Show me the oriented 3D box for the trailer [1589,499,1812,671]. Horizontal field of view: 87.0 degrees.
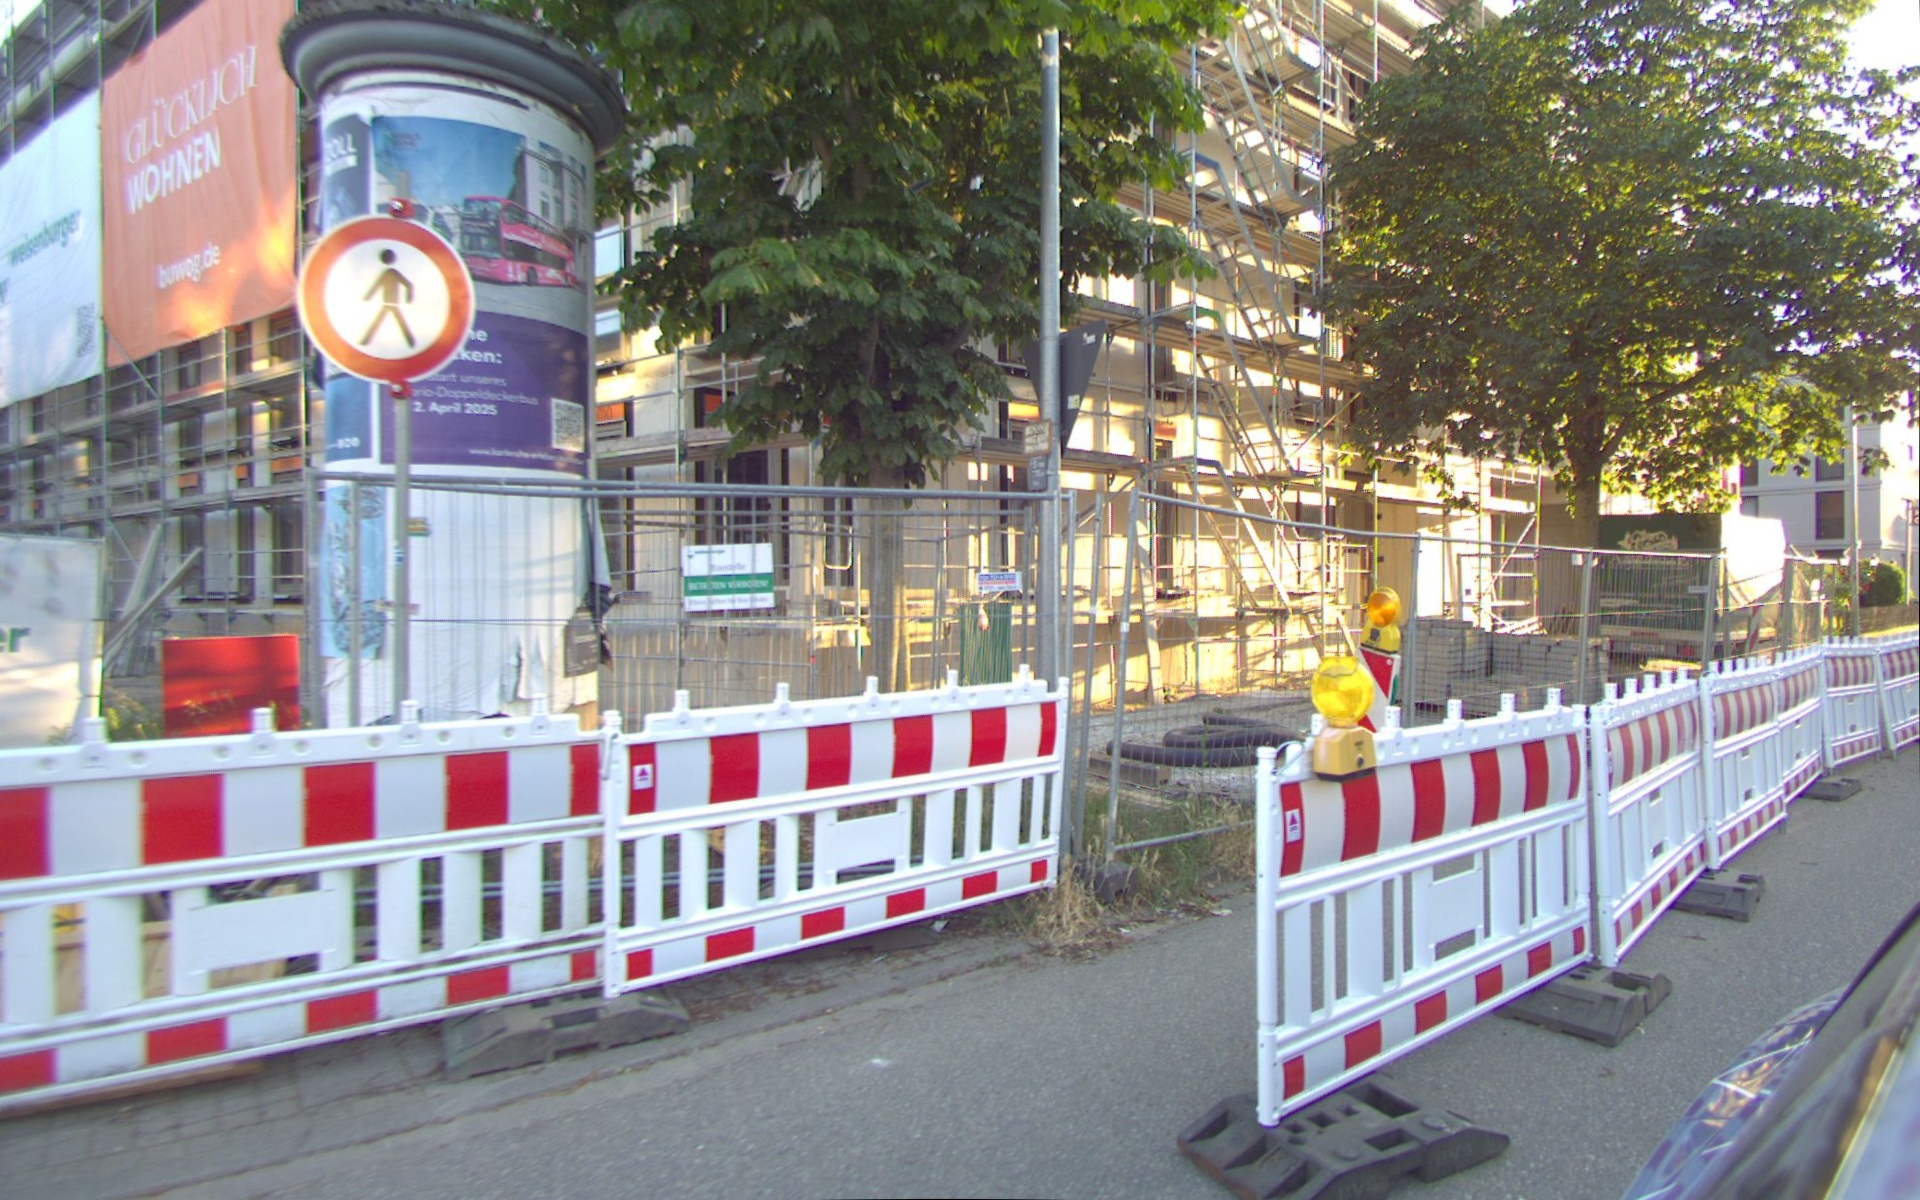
[{"bbox_3d":[12.586,-0.243,17.135,4.109,2.572,1.999,0,0,-38],"label":"trailer"}]
